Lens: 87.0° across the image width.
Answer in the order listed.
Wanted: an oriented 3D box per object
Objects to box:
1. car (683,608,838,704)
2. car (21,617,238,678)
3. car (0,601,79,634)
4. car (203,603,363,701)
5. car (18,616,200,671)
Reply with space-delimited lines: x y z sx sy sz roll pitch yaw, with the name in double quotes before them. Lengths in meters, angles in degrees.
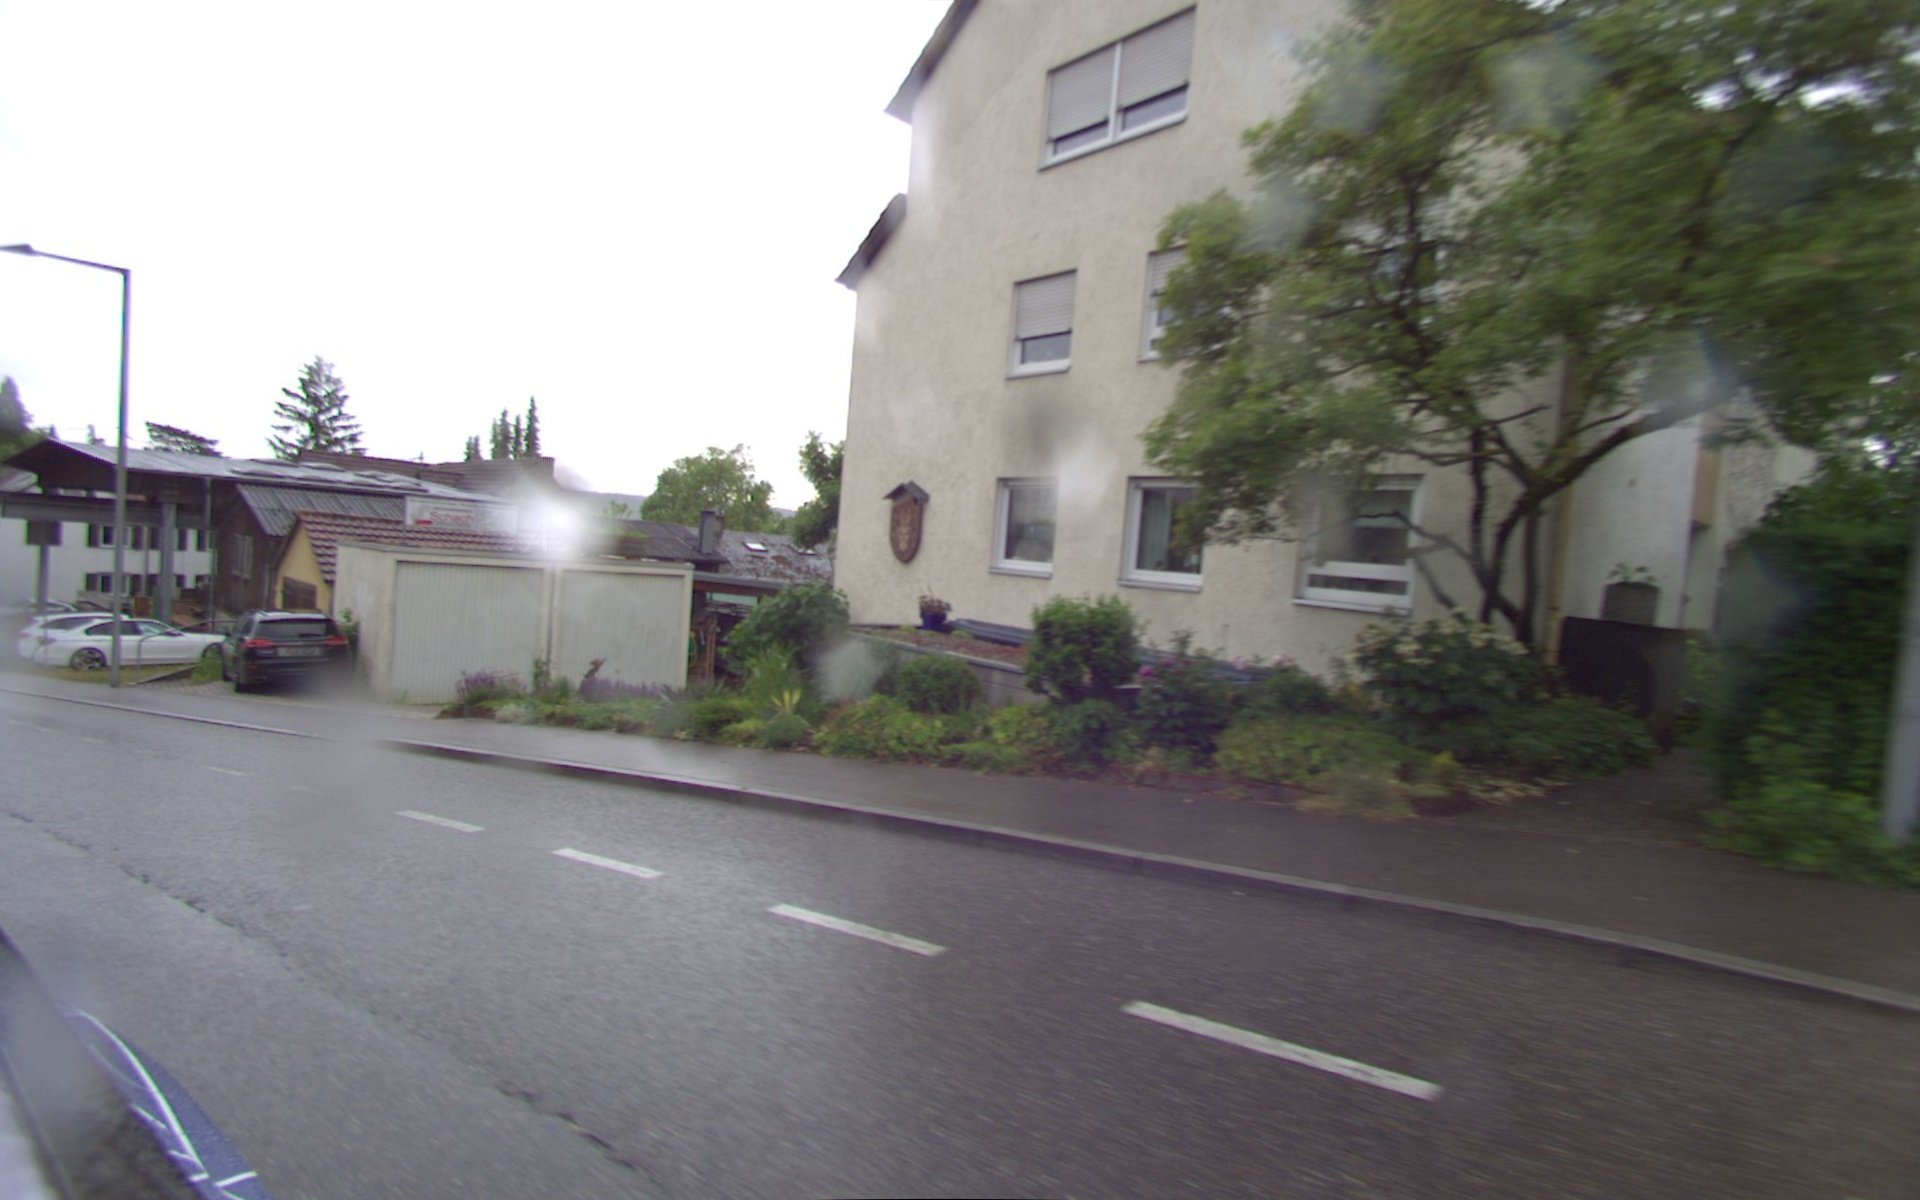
"car" -5.173 1.399 25.908 1.943 2.016 4.116 5 0 -41
"car" -22.640 1.253 27.714 4.442 1.516 1.903 2 -2 -43
"car" -47.194 0.875 50.949 1.800 1.519 3.950 3 0 36
"car" -13.322 0.940 19.776 1.950 1.672 4.969 2 -2 -41
"car" -24.951 1.261 29.884 3.934 1.516 1.905 1 -2 -35
